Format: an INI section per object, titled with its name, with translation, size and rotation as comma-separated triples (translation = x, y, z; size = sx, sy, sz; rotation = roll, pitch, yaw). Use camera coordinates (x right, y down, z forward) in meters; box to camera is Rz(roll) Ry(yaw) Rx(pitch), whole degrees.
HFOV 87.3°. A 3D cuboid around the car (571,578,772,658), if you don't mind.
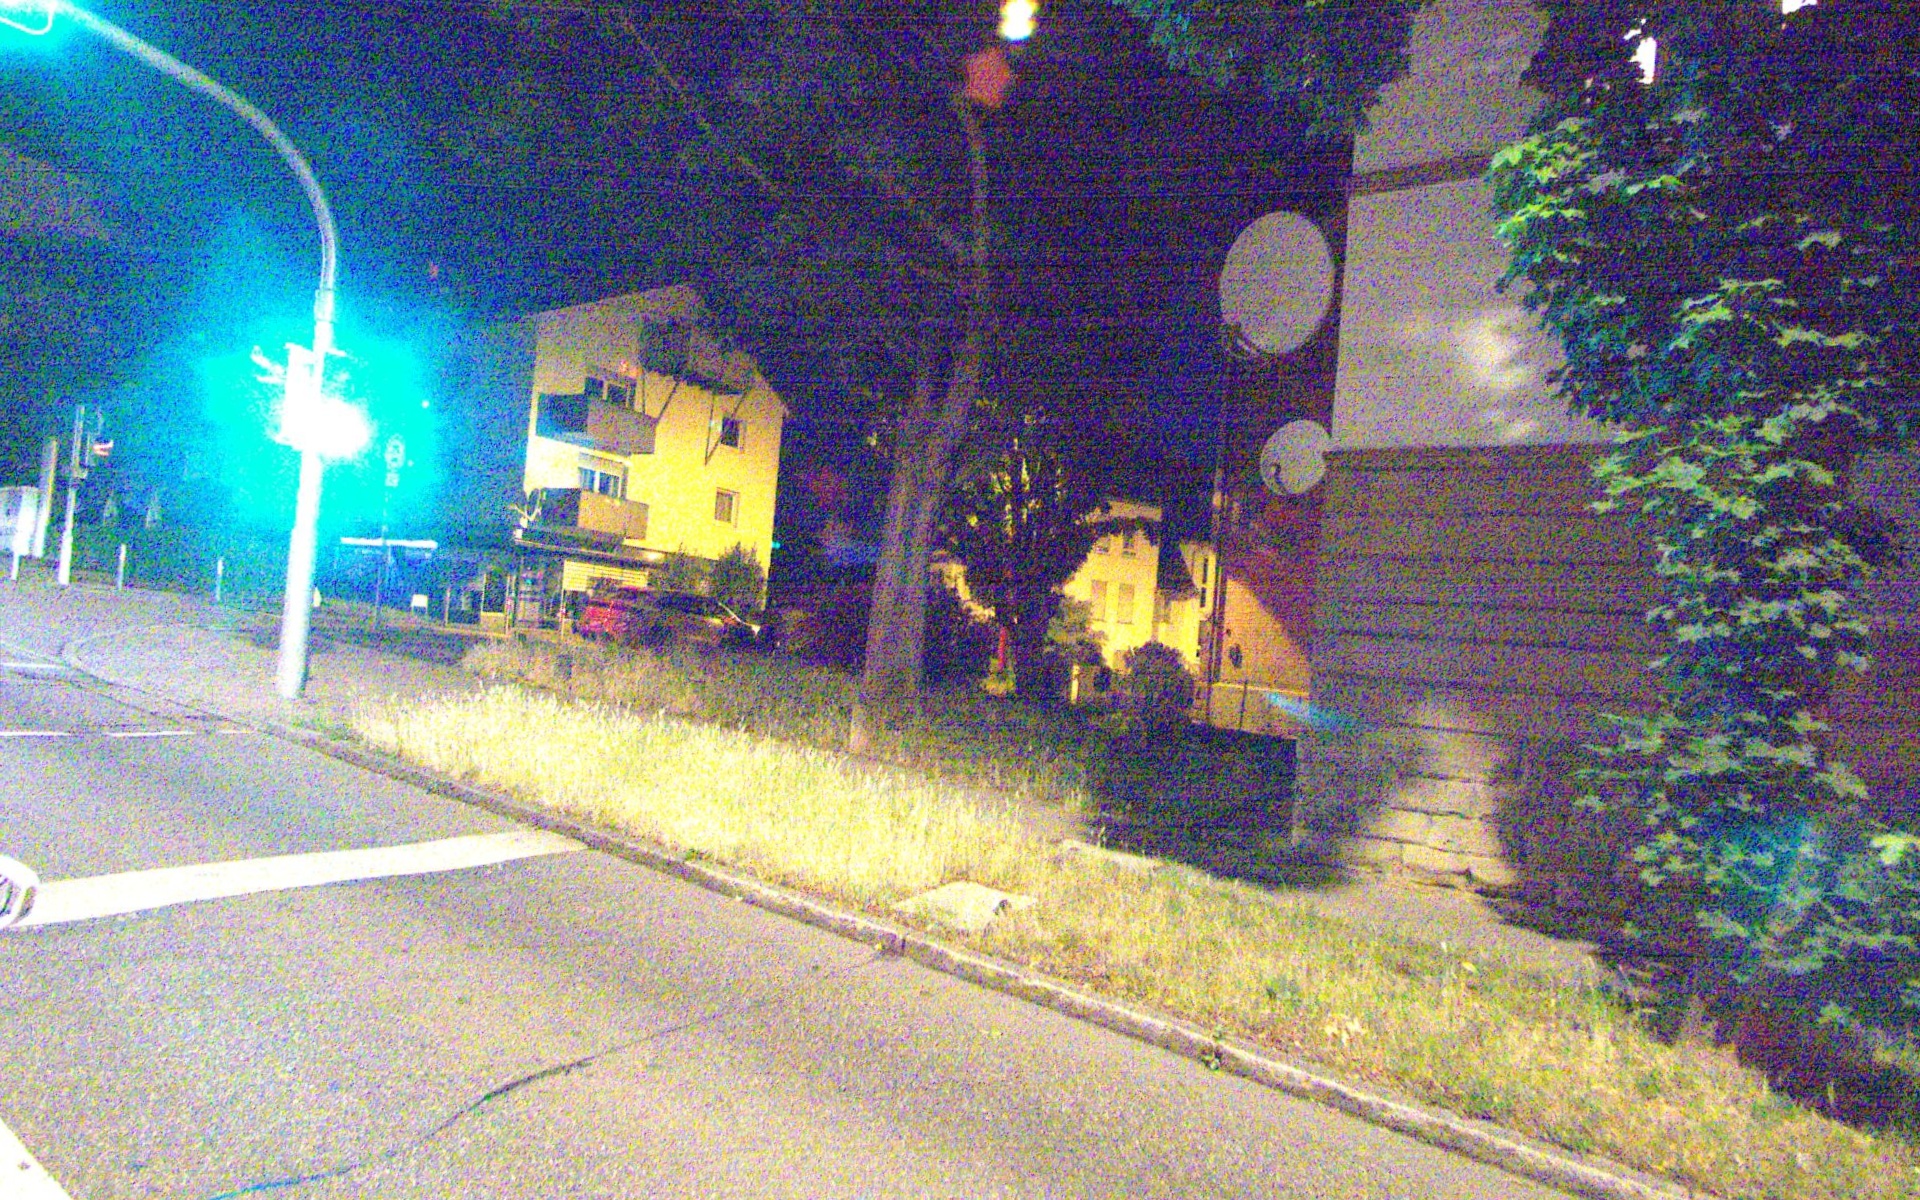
[car]
translation = -6.544, 0.454, 23.175
size = 1.740, 1.295, 4.131
rotation = 6, -3, 39
